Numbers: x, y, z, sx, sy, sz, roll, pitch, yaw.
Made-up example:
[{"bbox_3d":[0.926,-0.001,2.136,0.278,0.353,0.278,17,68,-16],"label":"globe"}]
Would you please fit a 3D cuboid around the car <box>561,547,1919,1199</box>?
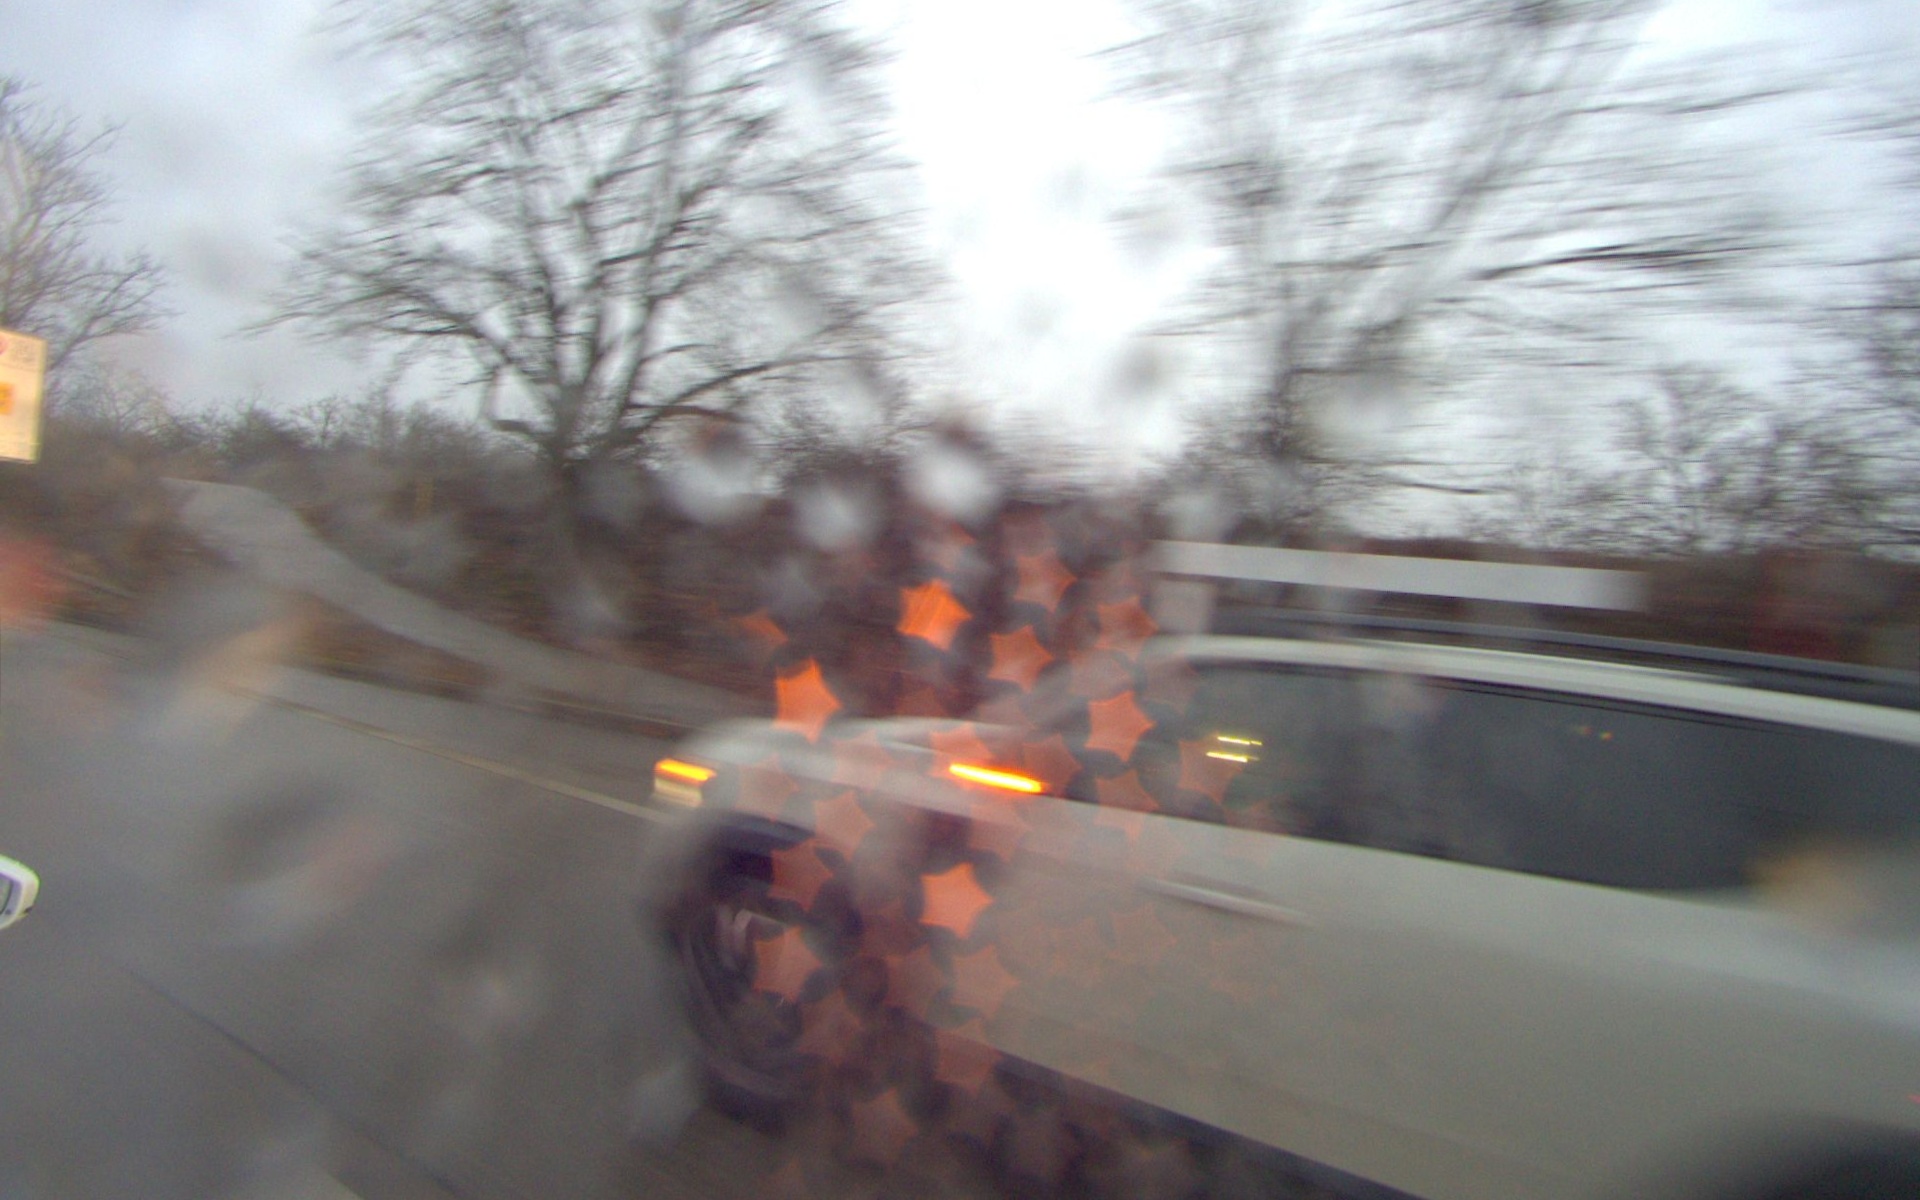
[{"bbox_3d":[1.116,0.909,2.898,4.336,1.638,1.818,6,0,30],"label":"car"}]
